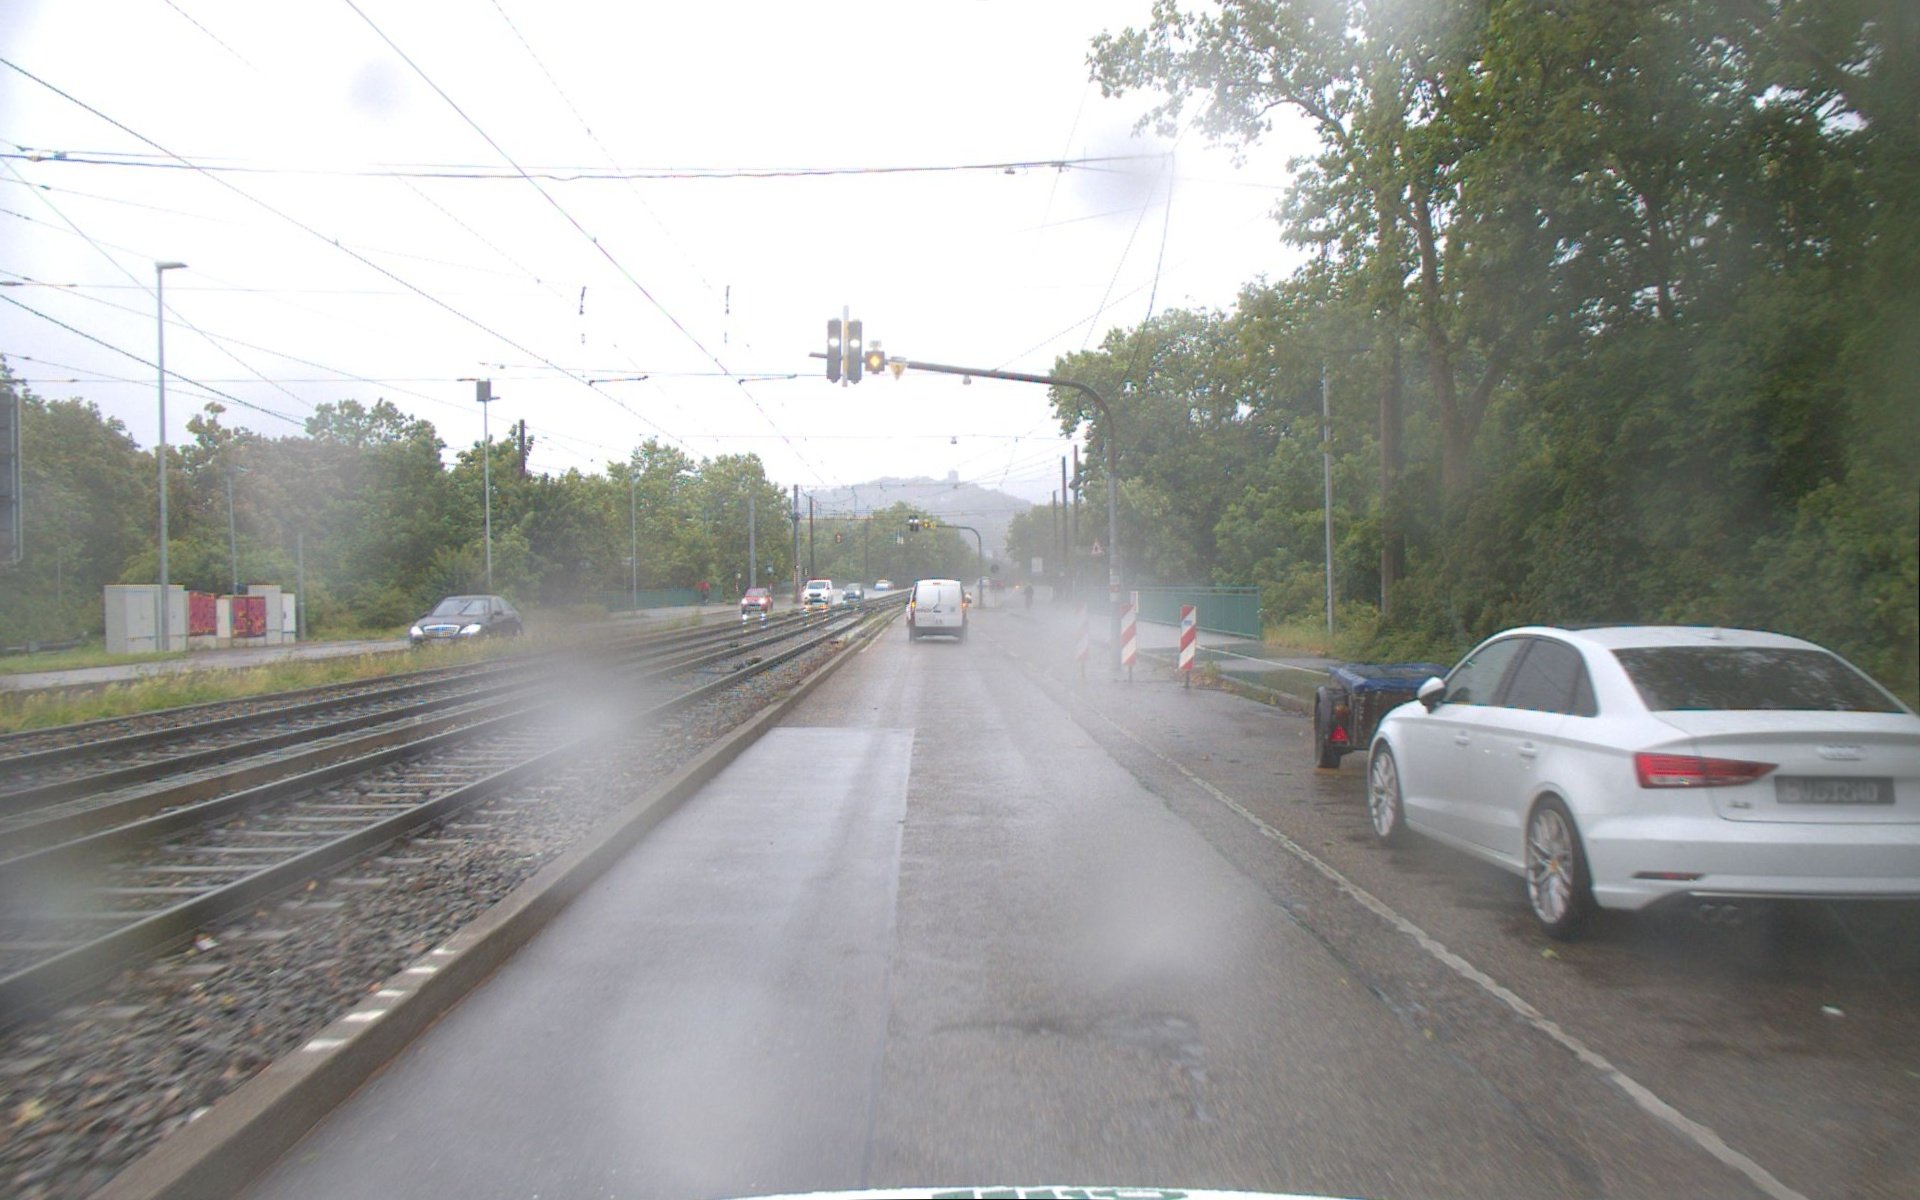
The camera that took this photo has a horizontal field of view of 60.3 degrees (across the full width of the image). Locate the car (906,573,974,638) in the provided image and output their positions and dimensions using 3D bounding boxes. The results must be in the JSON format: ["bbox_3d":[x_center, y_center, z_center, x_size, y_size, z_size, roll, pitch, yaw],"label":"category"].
[{"bbox_3d":[-0.584,0.141,49.574,1.953,1.881,3.999,0,0,-1],"label":"car"}]

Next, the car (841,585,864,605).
[{"bbox_3d":[-10.686,-0.491,164.832,1.953,1.982,4.000,0,0,0],"label":"car"}]

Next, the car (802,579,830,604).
[{"bbox_3d":[-12.013,-0.662,138.169,1.953,2.049,4.000,0,0,0],"label":"car"}]

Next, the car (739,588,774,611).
[{"bbox_3d":[-13.066,-0.046,106.433,1.782,1.422,3.999,-1,1,-1],"label":"car"}]

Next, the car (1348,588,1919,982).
[{"bbox_3d":[3.521,0.721,8.739,1.782,1.512,4.480,1,0,-1],"label":"car"}]

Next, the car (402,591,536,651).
[{"bbox_3d":[-12.650,0.497,42.964,1.953,1.429,5.384,-1,1,-1],"label":"car"}]

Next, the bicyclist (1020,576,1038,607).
[{"bbox_3d":[4.559,-0.550,110.060,1.078,2.049,1.674,0,0,-2],"label":"bicyclist"}]

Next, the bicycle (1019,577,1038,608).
[{"bbox_3d":[4.558,-0.505,110.070,1.083,2.049,3.050,0,0,-2],"label":"bicycle"}]

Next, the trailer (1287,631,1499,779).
[{"bbox_3d":[3.790,0.868,14.911,1.348,1.064,3.444,1,0,6],"label":"trailer"}]
